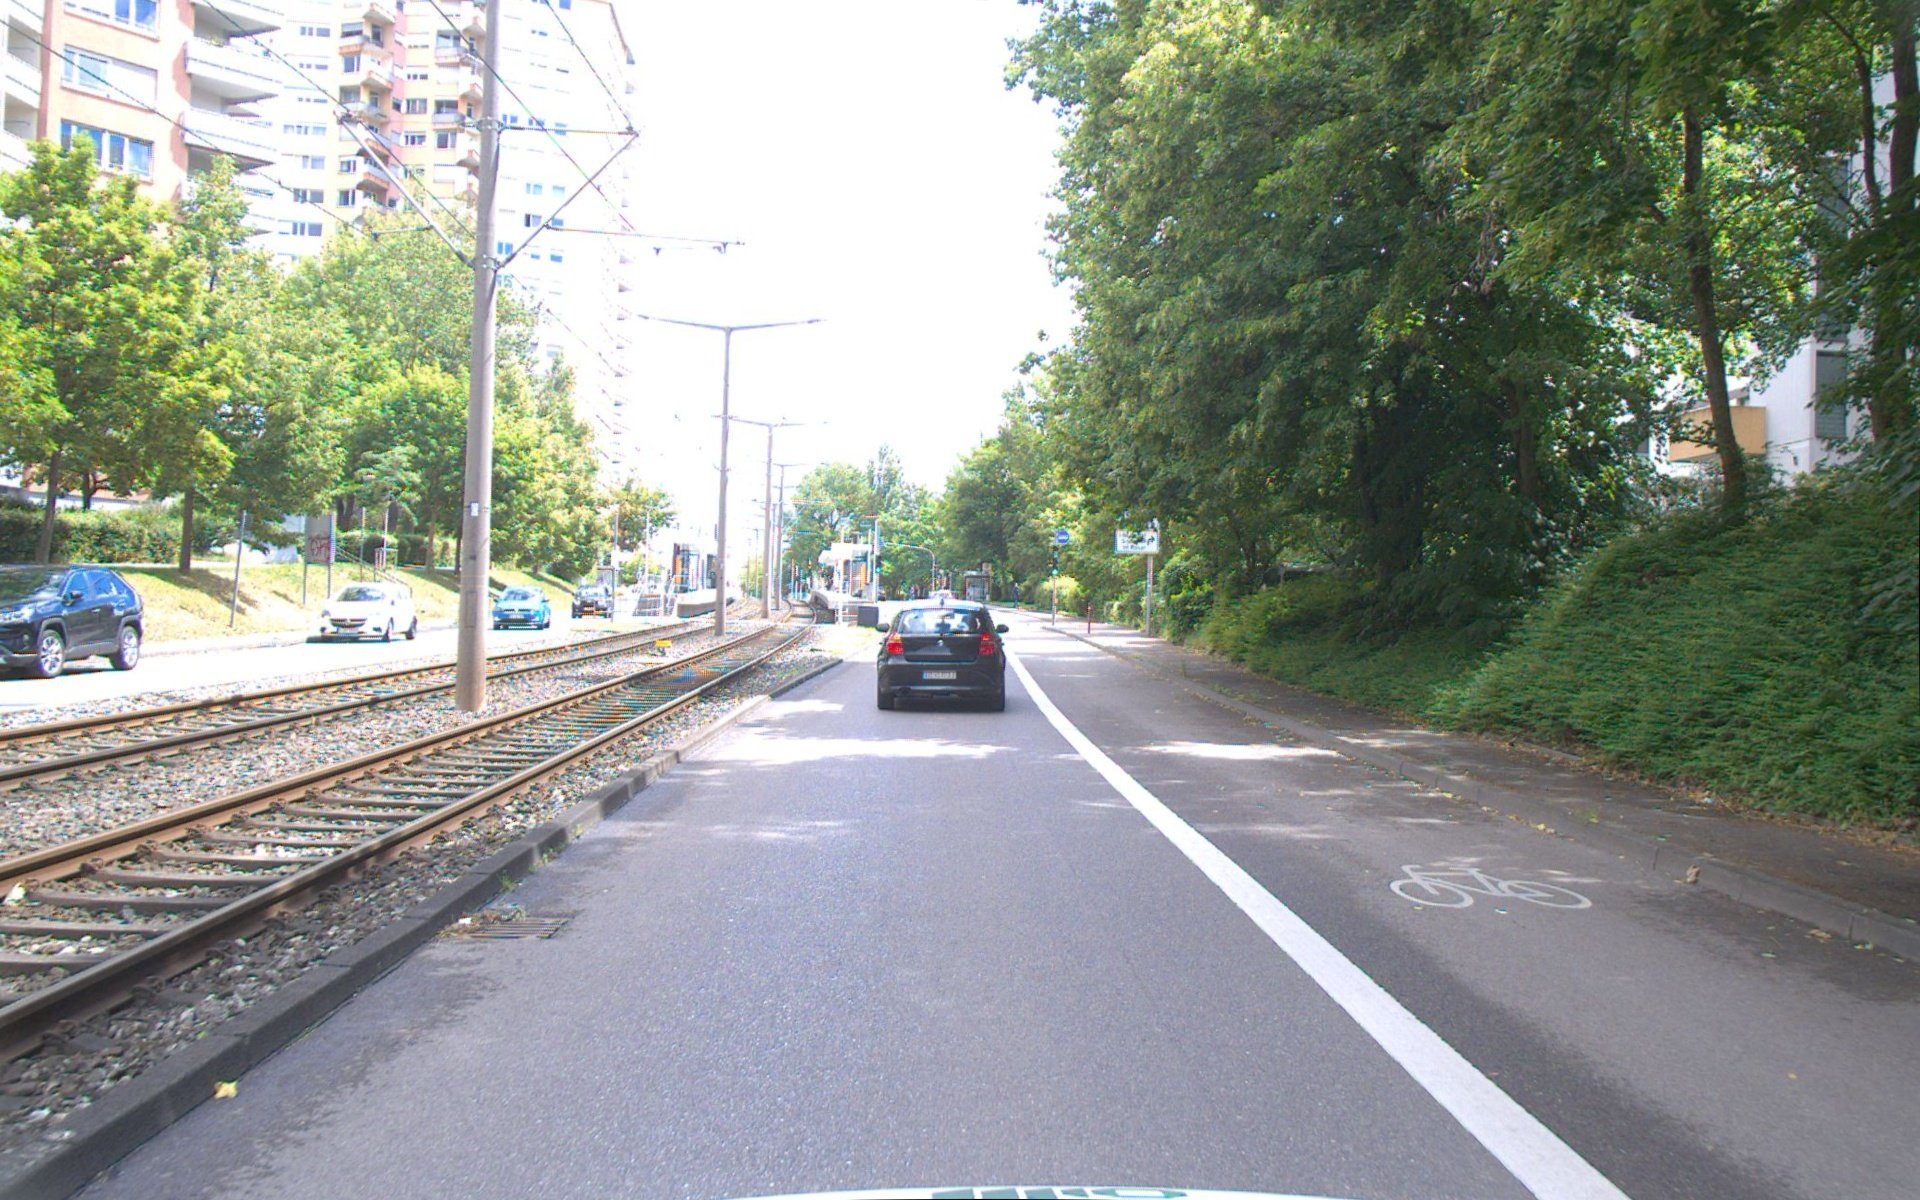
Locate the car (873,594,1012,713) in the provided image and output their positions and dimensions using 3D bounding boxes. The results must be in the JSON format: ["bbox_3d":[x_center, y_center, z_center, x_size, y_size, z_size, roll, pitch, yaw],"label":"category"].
[{"bbox_3d":[-0.299,0.661,22.750,1.745,1.485,3.919,0,0,-2],"label":"car"}]

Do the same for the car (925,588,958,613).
[{"bbox_3d":[-1.116,0.028,100.102,1.746,1.485,3.918,1,0,-4],"label":"car"}]

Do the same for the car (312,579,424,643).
[{"bbox_3d":[-15.164,0.255,42.558,1.747,1.559,4.239,0,0,-6],"label":"car"}]

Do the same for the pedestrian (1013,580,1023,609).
[{"bbox_3d":[4.222,-0.396,120.500,0.725,2.049,0.681,1,0,0],"label":"pedestrian"}]

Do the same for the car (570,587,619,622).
[{"bbox_3d":[-17.104,0.180,77.501,1.682,1.591,3.694,1,0,-4],"label":"car"}]

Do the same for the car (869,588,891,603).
[{"bbox_3d":[-7.922,-0.432,163.674,1.873,1.485,3.997,1,0,-6],"label":"car"}]

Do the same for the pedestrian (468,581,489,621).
[{"bbox_3d":[-18.677,0.041,64.125,0.756,1.561,0.713,0,0,-20],"label":"pedestrian"}]

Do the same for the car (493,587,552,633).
[{"bbox_3d":[-14.879,0.317,56.367,1.685,1.467,3.931,1,0,-12],"label":"car"}]

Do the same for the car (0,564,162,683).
[{"bbox_3d":[-14.032,0.341,25.265,1.739,1.658,4.379,0,0,-3],"label":"car"}]

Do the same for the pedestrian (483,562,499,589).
[{"bbox_3d":[-27.217,-1.423,95.992,0.620,1.561,0.635,0,0,17],"label":"pedestrian"}]
